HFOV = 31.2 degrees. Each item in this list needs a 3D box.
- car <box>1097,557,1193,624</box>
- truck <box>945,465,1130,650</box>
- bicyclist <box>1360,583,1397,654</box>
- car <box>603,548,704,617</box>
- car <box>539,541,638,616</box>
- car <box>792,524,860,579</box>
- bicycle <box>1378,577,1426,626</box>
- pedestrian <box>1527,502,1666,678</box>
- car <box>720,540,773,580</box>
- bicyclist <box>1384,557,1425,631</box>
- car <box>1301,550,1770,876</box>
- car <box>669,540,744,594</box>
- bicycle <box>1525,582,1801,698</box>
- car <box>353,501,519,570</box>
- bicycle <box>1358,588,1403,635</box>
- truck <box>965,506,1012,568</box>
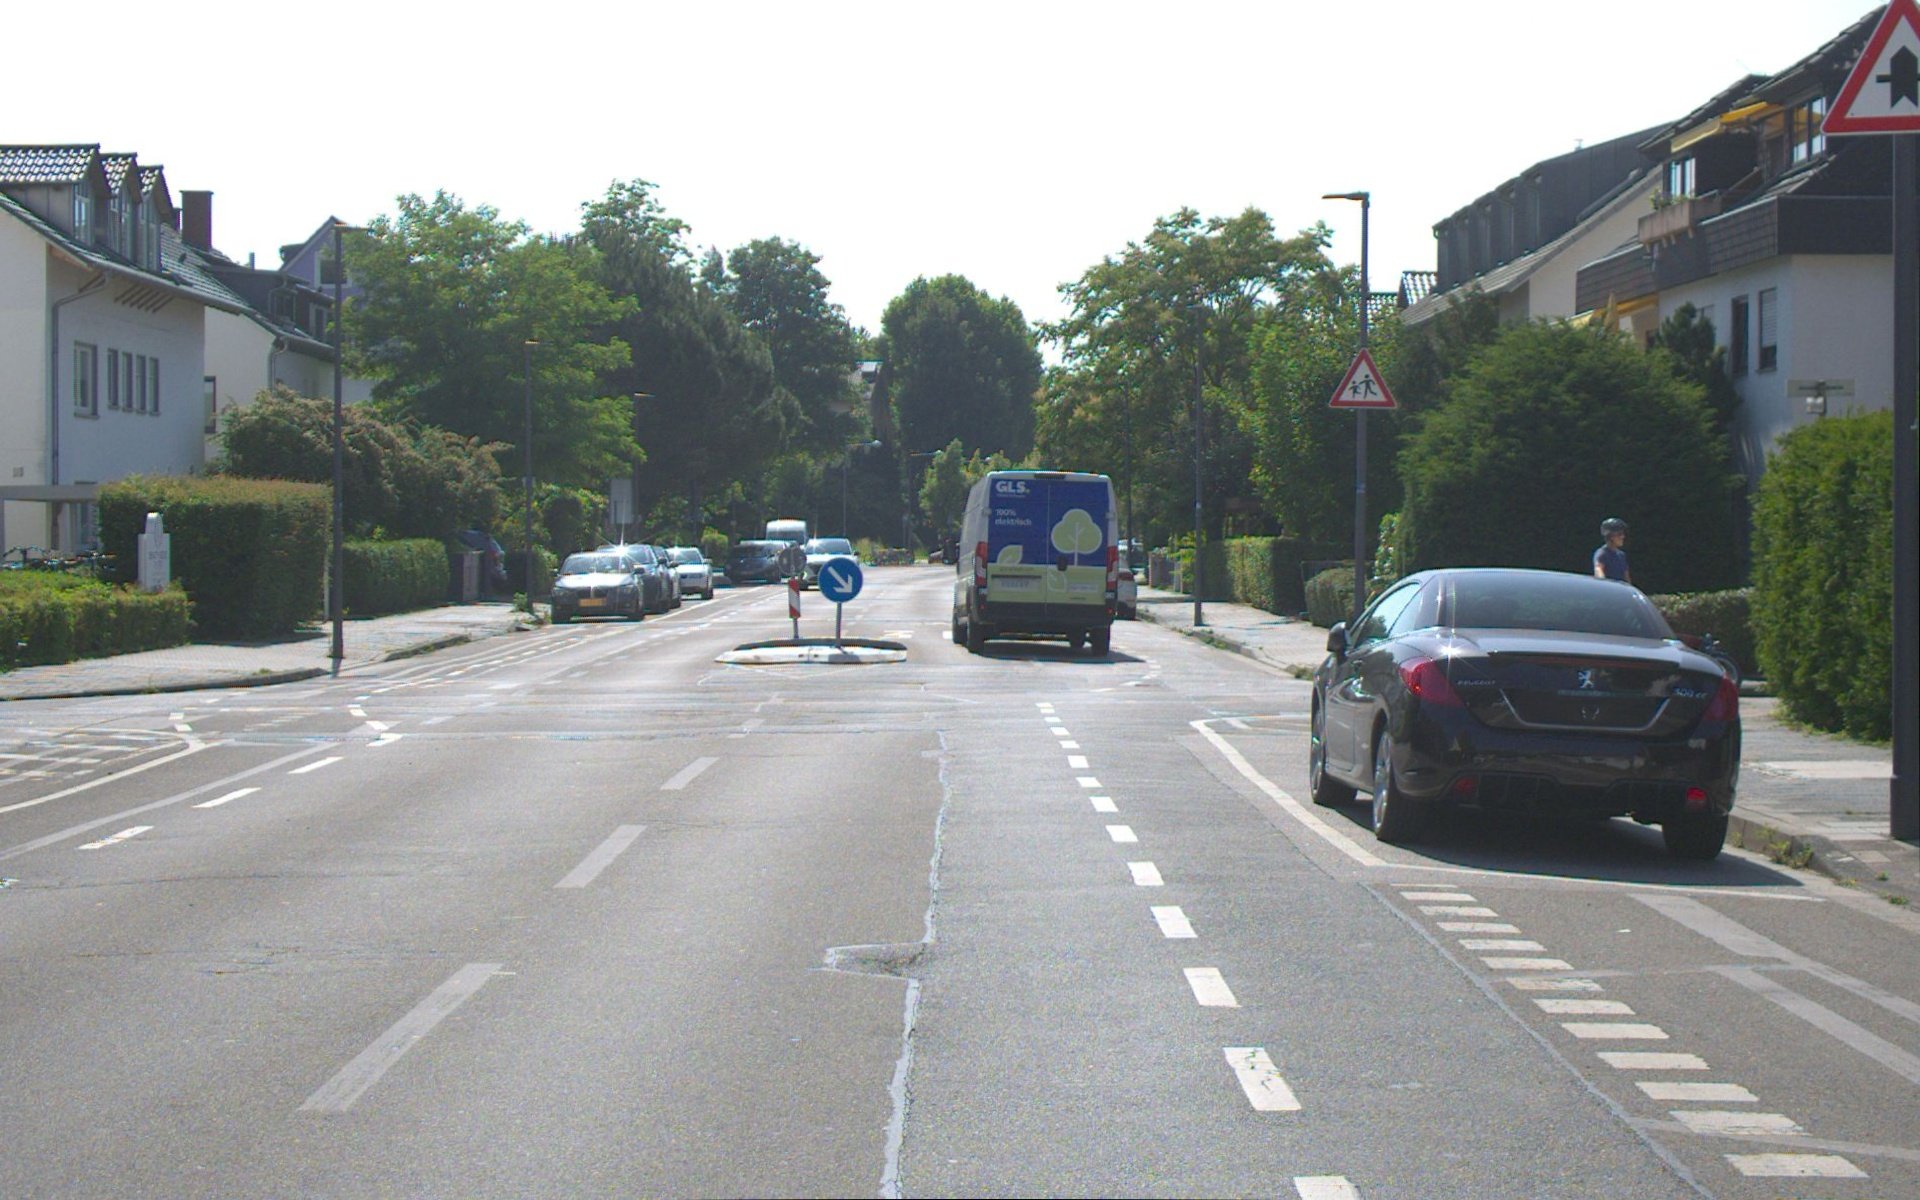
[{"bbox_3d":[3.933,-0.192,73.640,1.740,1.397,4.074,0,0,-1],"label":"car"},{"bbox_3d":[1.068,-0.614,49.949,2.272,2.562,4.393,0,1,-4],"label":"truck"},{"bbox_3d":[5.572,0.245,45.784,0.398,0.930,0.609,0,1,-3],"label":"bicyclist"},{"bbox_3d":[-6.835,-0.410,77.051,1.785,1.435,4.111,-1,1,1],"label":"car"},{"bbox_3d":[-7.576,-0.458,70.343,1.785,1.435,4.155,-1,1,-3],"label":"car"},{"bbox_3d":[-4.226,-1.539,109.000,1.915,1.661,4.506,-1,1,1],"label":"car"},{"bbox_3d":[5.568,0.012,43.352,0.401,0.597,1.174,0,1,-3],"label":"bicycle"},{"bbox_3d":[6.863,-0.118,37.085,0.898,1.866,1.189,0,1,-33],"label":"pedestrian"},{"bbox_3d":[-7.925,-1.503,127.958,1.780,1.455,4.086,0,1,-1],"label":"car"},{"bbox_3d":[5.587,-0.080,43.210,0.401,0.926,0.658,0,1,-3],"label":"bicyclist"},{"bbox_3d":[2.970,0.508,18.635,1.736,1.463,4.345,2,1,0],"label":"car"},{"bbox_3d":[-6.892,-0.926,93.867,1.785,1.435,4.000,0,1,-1],"label":"car"},{"bbox_3d":[7.383,0.401,36.153,2.708,1.154,0.862,1,1,32],"label":"bicycle"},{"bbox_3d":[-13.566,-1.674,89.112,3.987,1.753,2.000,0,1,0],"label":"car"},{"bbox_3d":[5.570,0.148,45.542,0.401,0.597,1.151,0,1,-3],"label":"bicycle"},{"bbox_3d":[1.380,-3.053,166.870,2.214,2.936,5.686,0,1,0],"label":"truck"}]
